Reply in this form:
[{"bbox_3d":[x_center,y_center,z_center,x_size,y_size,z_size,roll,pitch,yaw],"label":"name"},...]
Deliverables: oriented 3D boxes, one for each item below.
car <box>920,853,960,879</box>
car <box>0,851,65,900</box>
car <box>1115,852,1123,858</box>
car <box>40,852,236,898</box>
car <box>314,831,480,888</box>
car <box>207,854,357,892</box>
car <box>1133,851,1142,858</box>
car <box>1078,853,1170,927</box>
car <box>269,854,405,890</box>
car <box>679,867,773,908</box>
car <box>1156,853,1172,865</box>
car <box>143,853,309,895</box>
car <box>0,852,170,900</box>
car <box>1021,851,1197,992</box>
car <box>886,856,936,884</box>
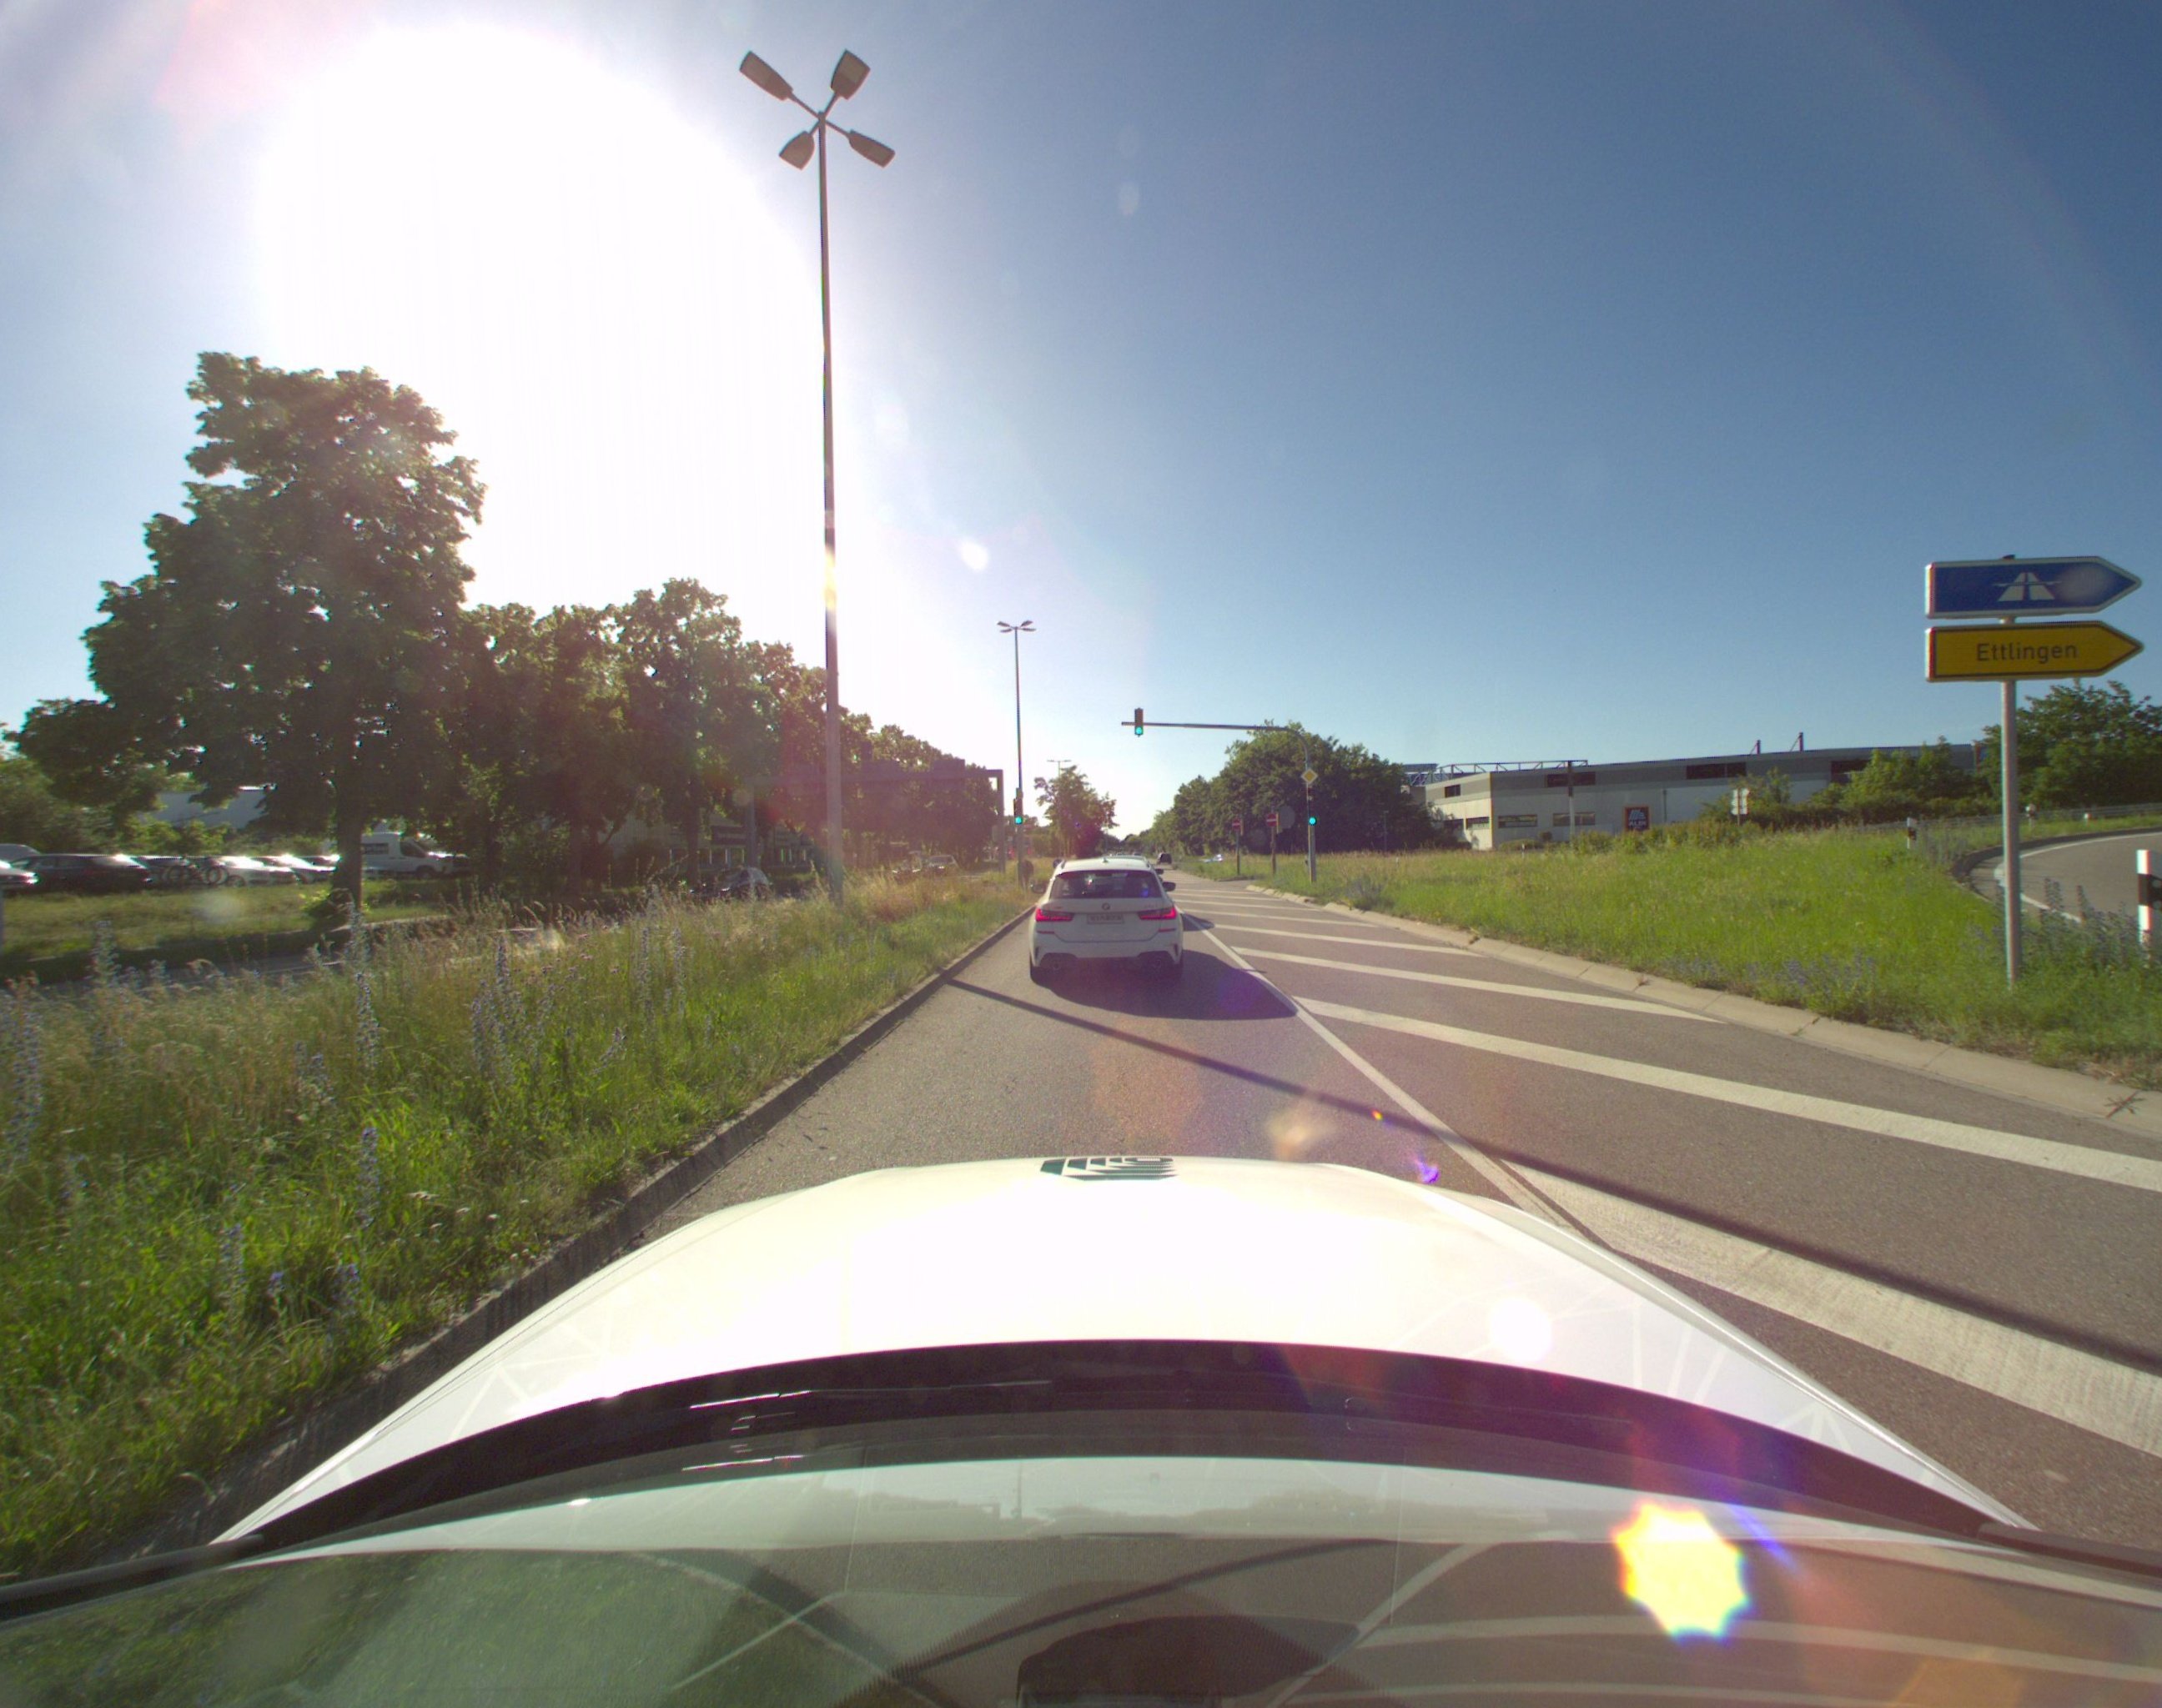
[{"bbox_3d":[-10.321,0.827,59.876,1.934,1.697,4.632,-3,0,2],"label":"car"},{"bbox_3d":[-32.766,0.668,23.625,4.104,1.388,1.947,-2,0,1],"label":"car"},{"bbox_3d":[10.087,0.297,217.142,1.854,1.565,4.550,-2,0,2],"label":"car"},{"bbox_3d":[-32.556,0.697,28.209,4.601,1.388,1.948,-2,0,2],"label":"car"},{"bbox_3d":[-32.448,0.252,38.762,5.861,2.433,2.205,-2,0,-2],"label":"car"},{"bbox_3d":[-32.833,0.755,33.558,4.107,1.388,1.945,-2,0,-2],"label":"car"},{"bbox_3d":[12.132,0.103,174.854,1.854,1.565,4.550,-2,0,2],"label":"car"},{"bbox_3d":[0.969,0.732,19.020,1.854,1.455,4.550,-2,0,2],"label":"car"},{"bbox_3d":[-32.966,0.776,36.175,4.107,1.388,1.945,-2,0,-2],"label":"car"},{"bbox_3d":[-14.619,1.332,33.813,1.773,1.425,4.384,-3,0,2],"label":"car"},{"bbox_3d":[11.050,0.673,108.187,1.765,1.555,3.833,-2,0,1],"label":"car"},{"bbox_3d":[-32.432,0.731,30.993,4.107,1.388,1.945,-2,0,-2],"label":"car"},{"bbox_3d":[-32.203,0.682,25.909,4.106,1.388,1.945,-2,0,-2],"label":"car"},{"bbox_3d":[0.403,0.726,11.080,1.854,1.455,4.550,-2,0,3],"label":"car"},{"bbox_3d":[-10.563,0.953,50.954,1.869,1.542,4.575,-3,0,2],"label":"car"}]
